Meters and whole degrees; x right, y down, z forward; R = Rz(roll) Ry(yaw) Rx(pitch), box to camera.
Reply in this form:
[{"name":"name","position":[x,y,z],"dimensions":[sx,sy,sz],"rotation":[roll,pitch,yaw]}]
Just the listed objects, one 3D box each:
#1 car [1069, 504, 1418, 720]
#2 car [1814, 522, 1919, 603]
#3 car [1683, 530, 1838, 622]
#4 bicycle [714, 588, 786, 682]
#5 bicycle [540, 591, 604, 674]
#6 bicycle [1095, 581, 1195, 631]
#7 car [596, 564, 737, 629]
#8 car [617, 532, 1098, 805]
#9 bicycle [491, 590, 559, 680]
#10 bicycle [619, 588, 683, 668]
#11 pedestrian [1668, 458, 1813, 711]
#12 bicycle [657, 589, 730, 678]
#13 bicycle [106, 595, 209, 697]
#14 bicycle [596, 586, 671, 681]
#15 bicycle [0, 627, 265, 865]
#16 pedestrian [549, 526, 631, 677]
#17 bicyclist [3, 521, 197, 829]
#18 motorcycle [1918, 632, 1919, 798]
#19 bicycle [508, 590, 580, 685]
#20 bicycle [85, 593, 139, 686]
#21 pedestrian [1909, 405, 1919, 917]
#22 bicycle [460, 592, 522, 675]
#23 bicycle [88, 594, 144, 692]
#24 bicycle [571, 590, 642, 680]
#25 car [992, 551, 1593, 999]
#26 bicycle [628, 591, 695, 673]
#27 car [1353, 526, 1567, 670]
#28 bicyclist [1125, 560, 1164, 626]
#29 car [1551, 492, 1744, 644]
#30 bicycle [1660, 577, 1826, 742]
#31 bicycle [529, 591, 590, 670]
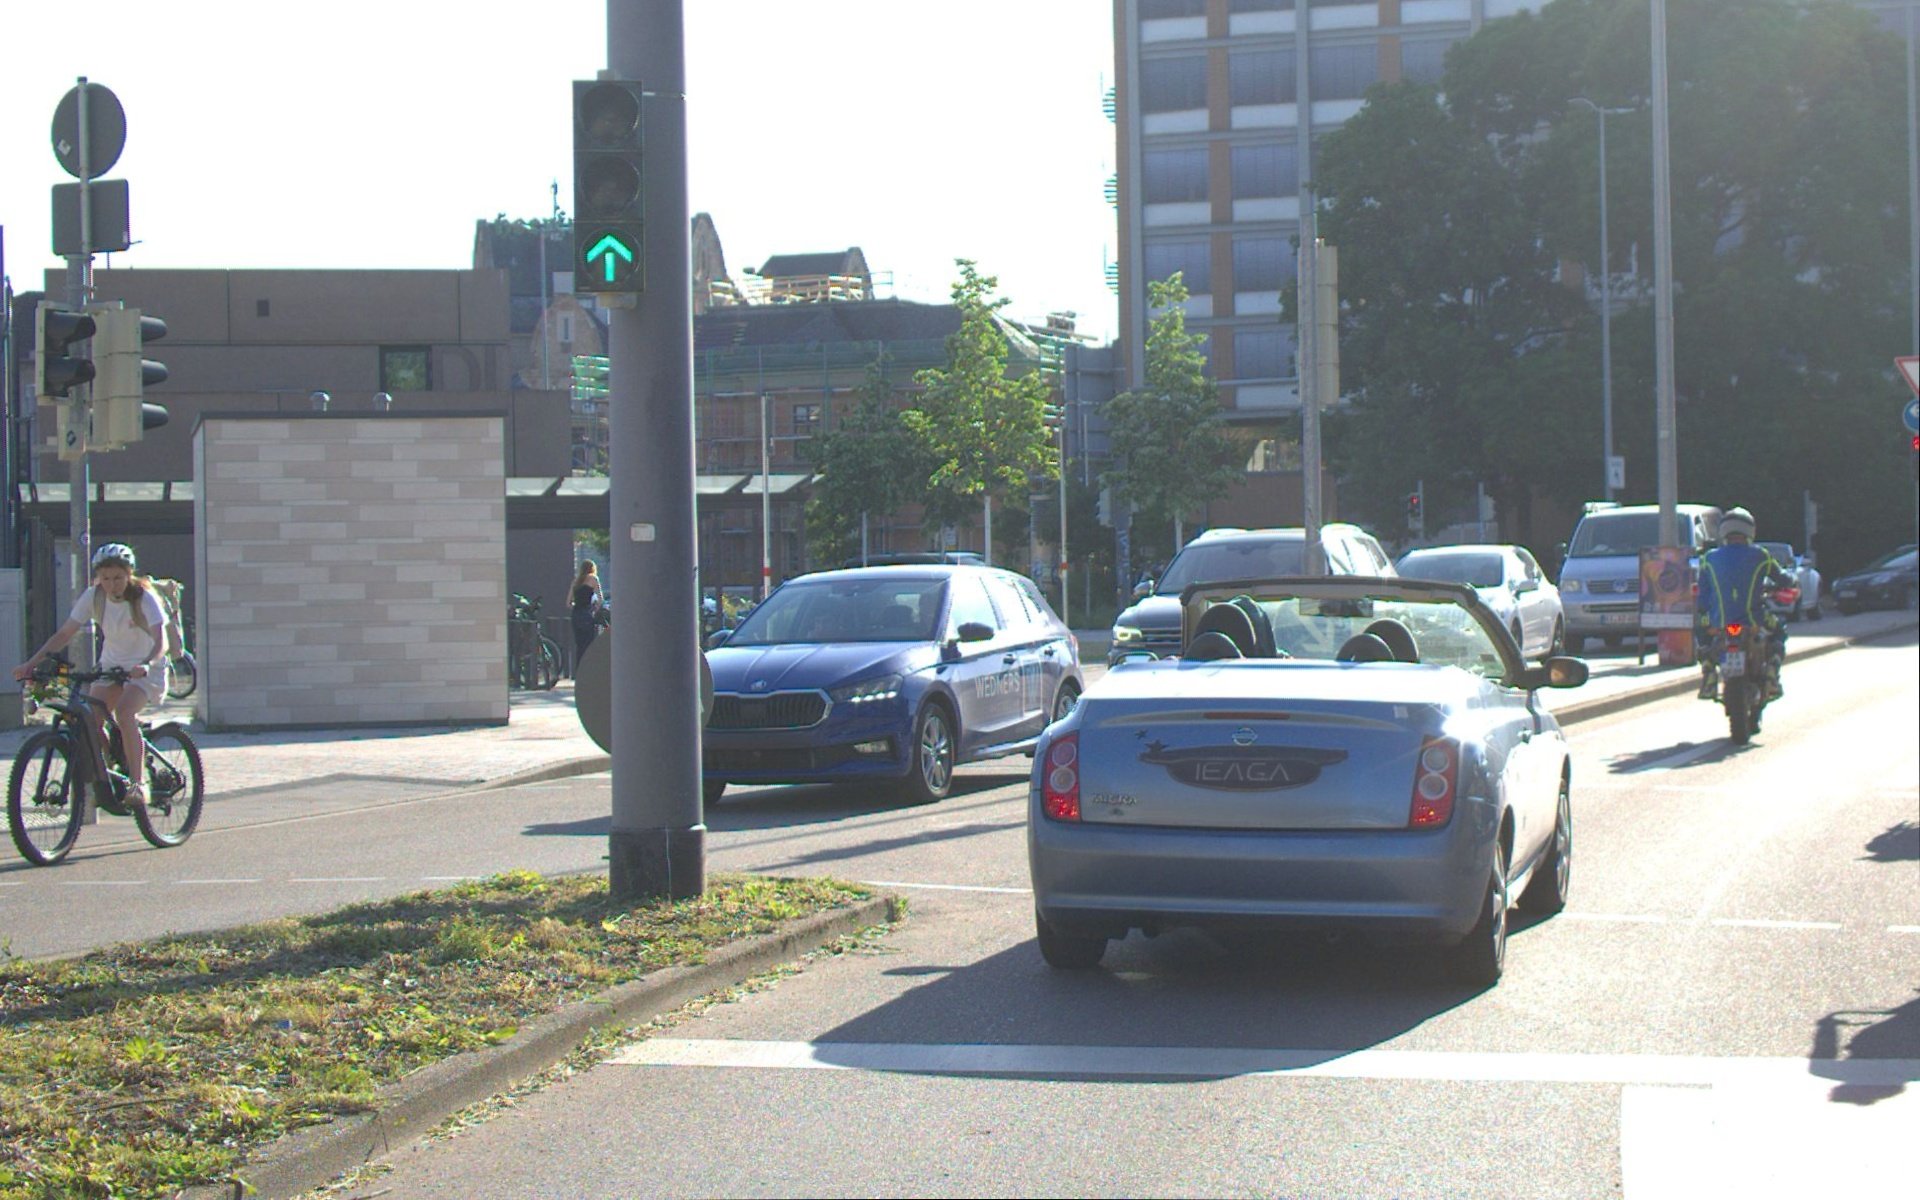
[{"name":"car","position":[2.579,0.071,30.147],"dimensions":[1.763,1.700,4.525],"rotation":[-2,0,21]},{"name":"car","position":[19.279,-0.788,68.999],"dimensions":[3.987,1.525,1.805],"rotation":[-2,0,-31]},{"name":"car","position":[14.385,-0.447,61.632],"dimensions":[1.801,1.525,3.995],"rotation":[-2,0,26]},{"name":"bicycle","position":[-2.594,0.414,42.275],"dimensions":[0.606,1.111,1.897],"rotation":[1,0,-12]},{"name":"bicycle","position":[-5.392,0.436,47.678],"dimensions":[0.606,1.111,1.897],"rotation":[1,0,-15]},{"name":"bicycle","position":[4.531,0.138,84.358],"dimensions":[2.410,1.187,0.609],"rotation":[1,0,28]},{"name":"car","position":[-7.279,-0.084,85.051],"dimensions":[1.640,1.555,3.598],"rotation":[-2,1,-41]},{"name":"car","position":[-0.552,0.394,22.102],"dimensions":[1.738,1.568,3.920],"rotation":[1,0,20]},{"name":"bicycle","position":[-5.547,0.432,43.801],"dimensions":[0.606,1.111,1.897],"rotation":[1,0,-15]},{"name":"bicycle","position":[-4.490,0.397,49.887],"dimensions":[0.606,1.111,1.897],"rotation":[1,0,-15]},{"name":"pedestrian","position":[5.884,-0.121,25.904],"dimensions":[0.834,1.862,0.919],"rotation":[1,0,28]},{"name":"bicycle","position":[-3.442,0.418,44.262],"dimensions":[0.606,1.111,1.897],"rotation":[1,0,-15]},{"name":"bicycle","position":[-9.073,0.506,38.931],"dimensions":[0.607,1.111,1.896],"rotation":[1,0,3]},{"name":"bicycle","position":[-3.991,0.396,41.921],"dimensions":[0.606,1.111,1.897],"rotation":[1,0,-15]},{"name":"bicycle","position":[-4.703,0.768,18.906],"dimensions":[0.675,1.176,2.181],"rotation":[-1,1,20]},{"name":"pedestrian","position":[-4.629,0.017,43.008],"dimensions":[0.900,1.862,0.687],"rotation":[1,0,-14]},{"name":"bicyclist","position":[-4.719,0.401,18.880],"dimensions":[0.709,1.651,0.742],"rotation":[-1,0,20]},{"name":"motorcycle","position":[5.838,0.603,19.736],"dimensions":[0.614,1.094,2.358],"rotation":[1,0,15]},{"name":"bicycle","position":[-5.059,0.439,41.740],"dimensions":[0.606,1.111,1.897],"rotation":[1,0,-15]},{"name":"bicycle","position":[-10.456,0.476,42.412],"dimensions":[0.606,1.111,1.897],"rotation":[1,0,-13]},{"name":"pedestrian","position":[3.910,0.226,12.829],"dimensions":[0.659,1.862,0.872],"rotation":[1,0,17]},{"name":"bicycle","position":[-6.488,0.452,47.478],"dimensions":[0.606,1.111,1.897],"rotation":[1,0,-15]},{"name":"bicycle","position":[-9.951,0.493,40.504],"dimensions":[0.606,1.111,1.897],"rotation":[1,0,-15]},{"name":"bicycle","position":[-4.513,0.436,43.835],"dimensions":[0.606,1.111,1.897],"rotation":[1,0,-15]},{"name":"car","position":[1.454,0.564,13.417],"dimensions":[1.661,1.436,4.151],"rotation":[1,0,15]},{"name":"bicycle","position":[-4.169,0.435,47.926],"dimensions":[0.606,1.111,1.897],"rotation":[1,0,-15]},{"name":"car","position":[5.813,-0.054,39.649],"dimensions":[1.696,1.555,3.976],"rotation":[-1,1,19]},{"name":"bicyclist","position":[4.531,-0.166,84.360],"dimensions":[0.752,1.593,0.588],"rotation":[1,0,28]},{"name":"car","position":[9.593,-0.452,47.696],"dimensions":[1.910,1.939,4.702],"rotation":[-2,0,19]},{"name":"bicycle","position":[5.944,0.430,26.003],"dimensions":[0.609,1.187,2.411],"rotation":[1,0,28]},{"name":"bicycle","position":[-5.795,0.432,49.631],"dimensions":[0.606,1.111,1.897],"rotation":[1,0,-15]}]
